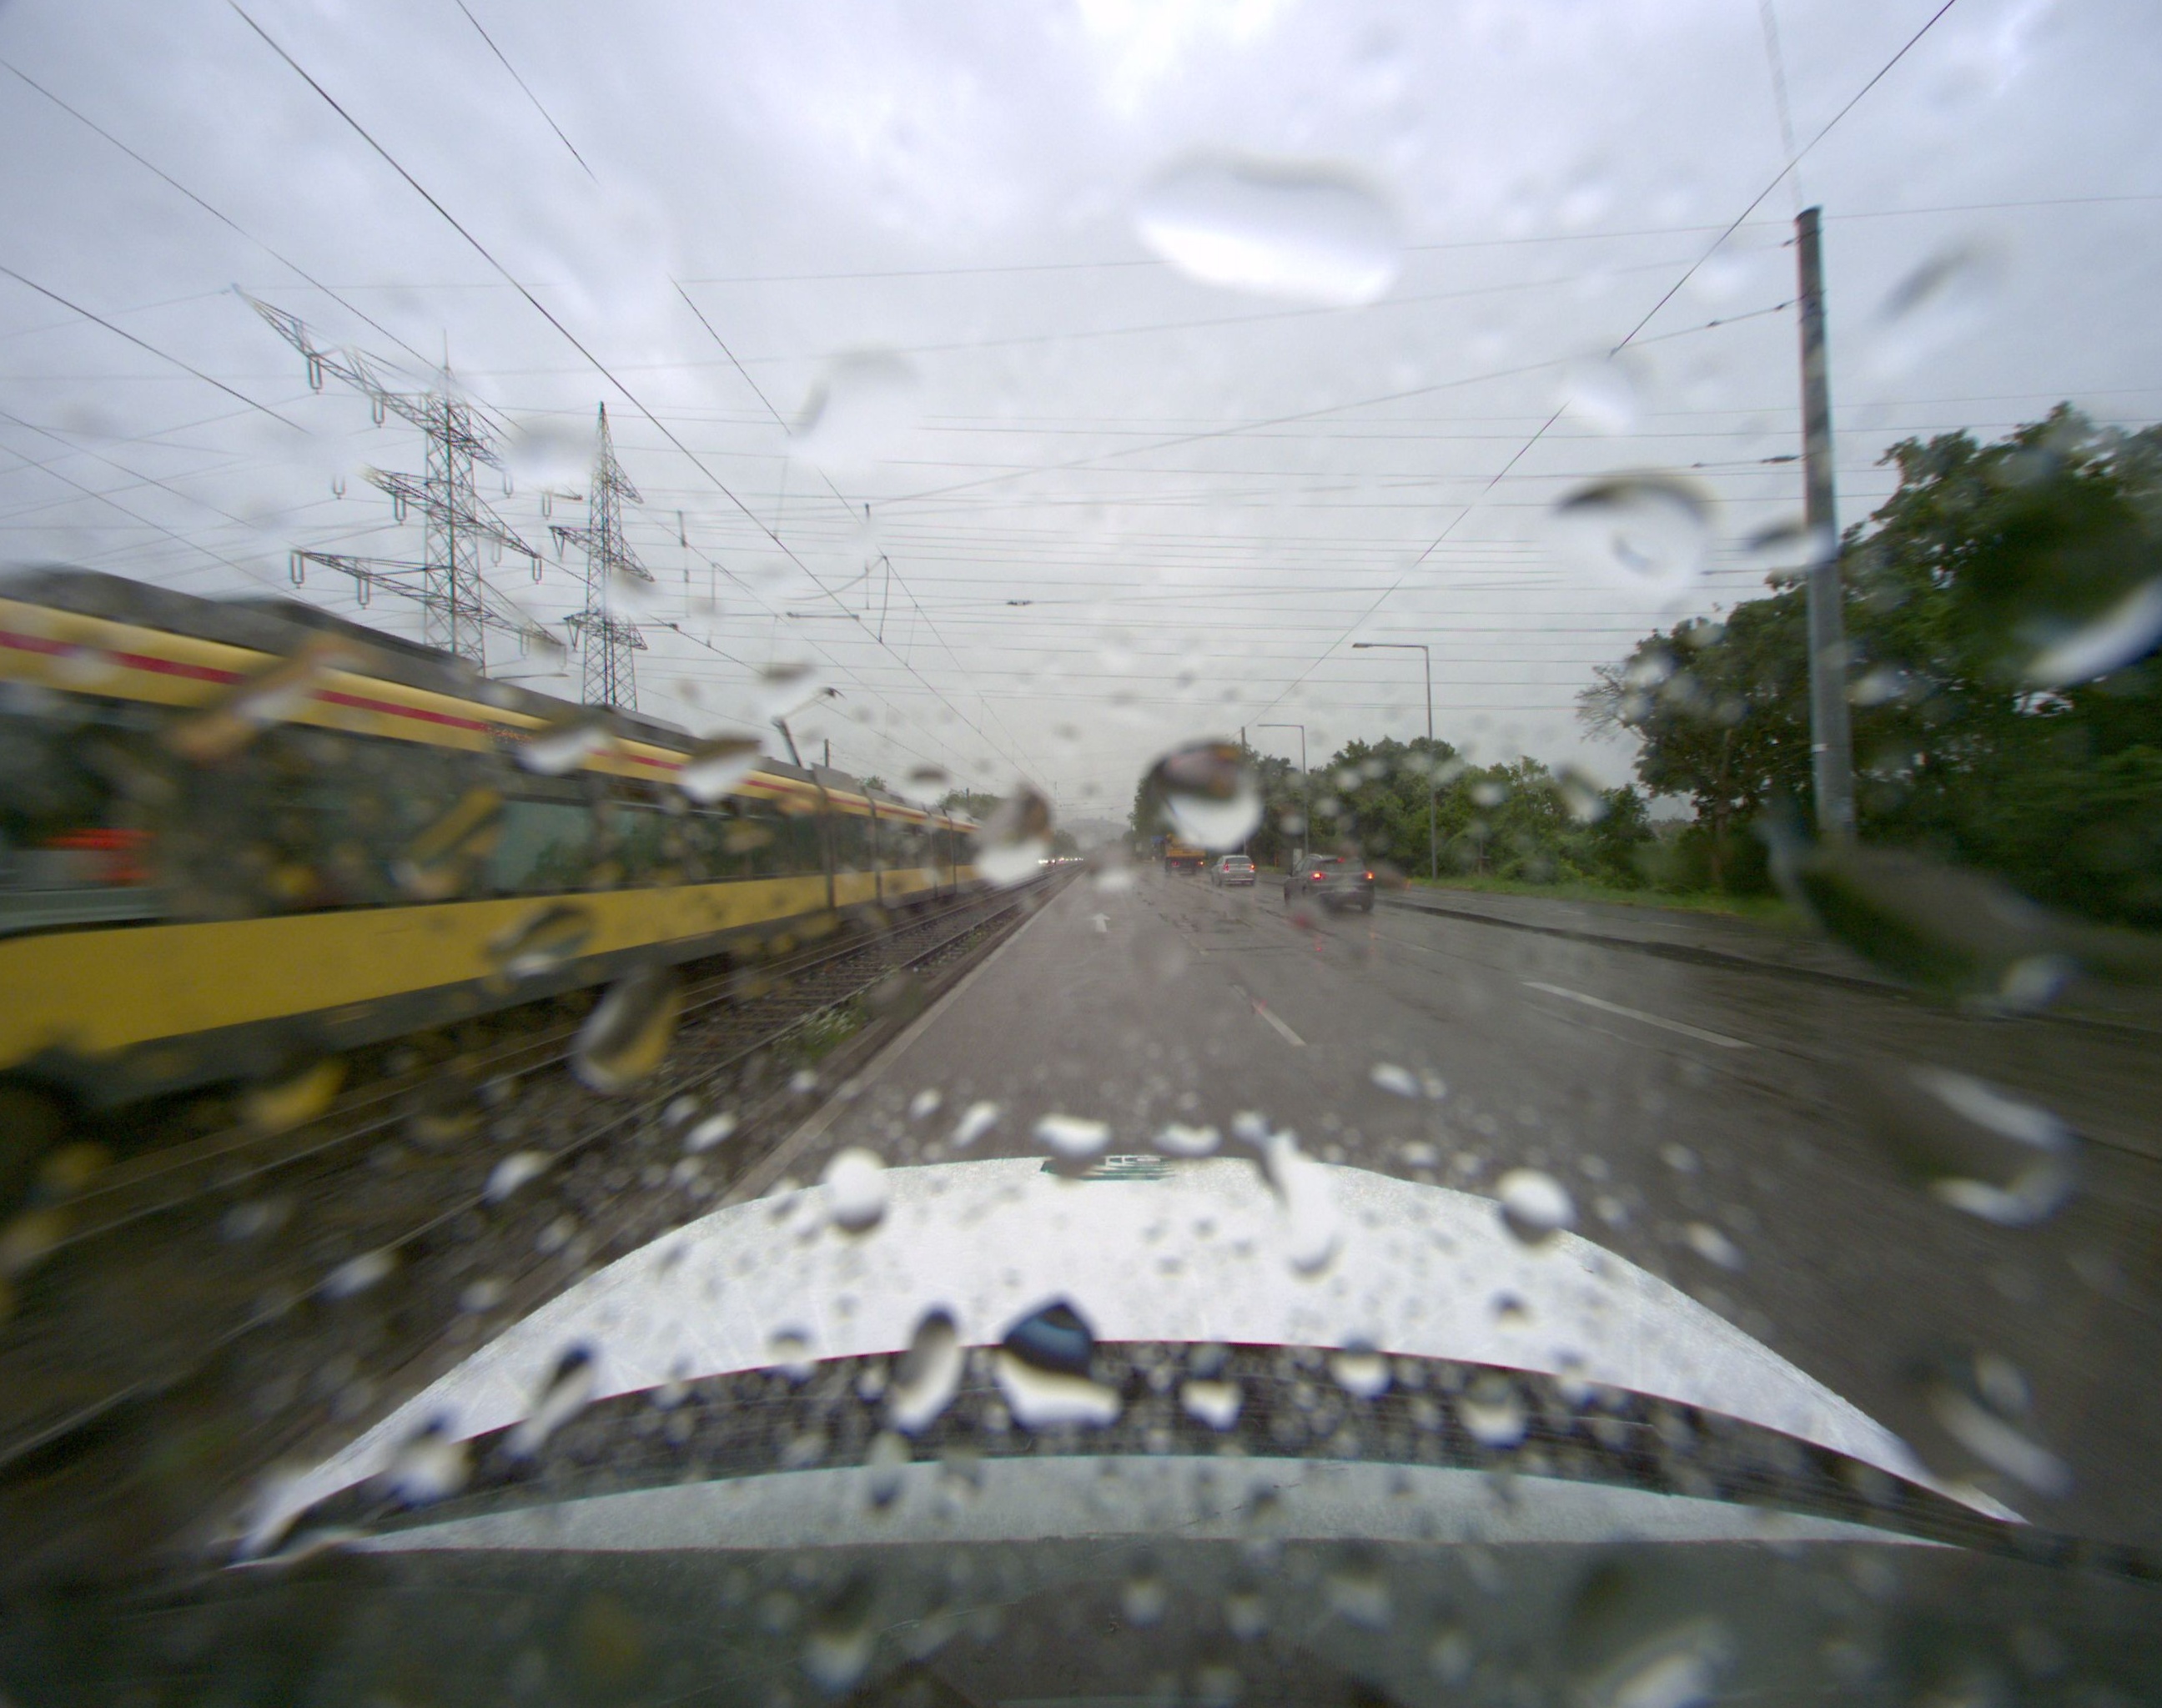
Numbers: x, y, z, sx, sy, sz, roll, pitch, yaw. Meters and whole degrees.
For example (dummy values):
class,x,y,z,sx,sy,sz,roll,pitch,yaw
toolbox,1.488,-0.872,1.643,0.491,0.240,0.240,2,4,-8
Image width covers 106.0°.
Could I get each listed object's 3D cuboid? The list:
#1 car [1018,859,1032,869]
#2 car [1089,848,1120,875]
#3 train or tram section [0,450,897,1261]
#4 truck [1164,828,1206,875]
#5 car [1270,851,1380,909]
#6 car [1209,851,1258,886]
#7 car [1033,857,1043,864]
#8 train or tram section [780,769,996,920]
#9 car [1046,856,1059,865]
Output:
class,x,y,z,sx,sy,sz,roll,pitch,yaw
car,-9.300,1.661,134.638,1.836,1.574,5.067,-1,1,1
car,1.597,0.481,53.904,1.981,1.684,3.743,-1,1,3
train or tram section,-6.209,-0.099,11.220,2.854,3.705,17.895,-1,1,1
truck,7.691,-0.222,60.835,2.545,3.257,6.938,-1,1,3
car,6.473,0.635,22.077,1.880,1.357,4.280,-1,1,3
car,7.221,0.629,38.954,1.620,1.503,4.609,-1,1,2
car,-9.166,1.465,174.505,1.751,1.362,5.073,-1,1,1
train or tram section,-5.805,-0.388,30.019,2.875,3.705,19.535,-1,1,1
car,-5.629,1.277,160.512,1.984,1.464,5.258,-4,1,4
